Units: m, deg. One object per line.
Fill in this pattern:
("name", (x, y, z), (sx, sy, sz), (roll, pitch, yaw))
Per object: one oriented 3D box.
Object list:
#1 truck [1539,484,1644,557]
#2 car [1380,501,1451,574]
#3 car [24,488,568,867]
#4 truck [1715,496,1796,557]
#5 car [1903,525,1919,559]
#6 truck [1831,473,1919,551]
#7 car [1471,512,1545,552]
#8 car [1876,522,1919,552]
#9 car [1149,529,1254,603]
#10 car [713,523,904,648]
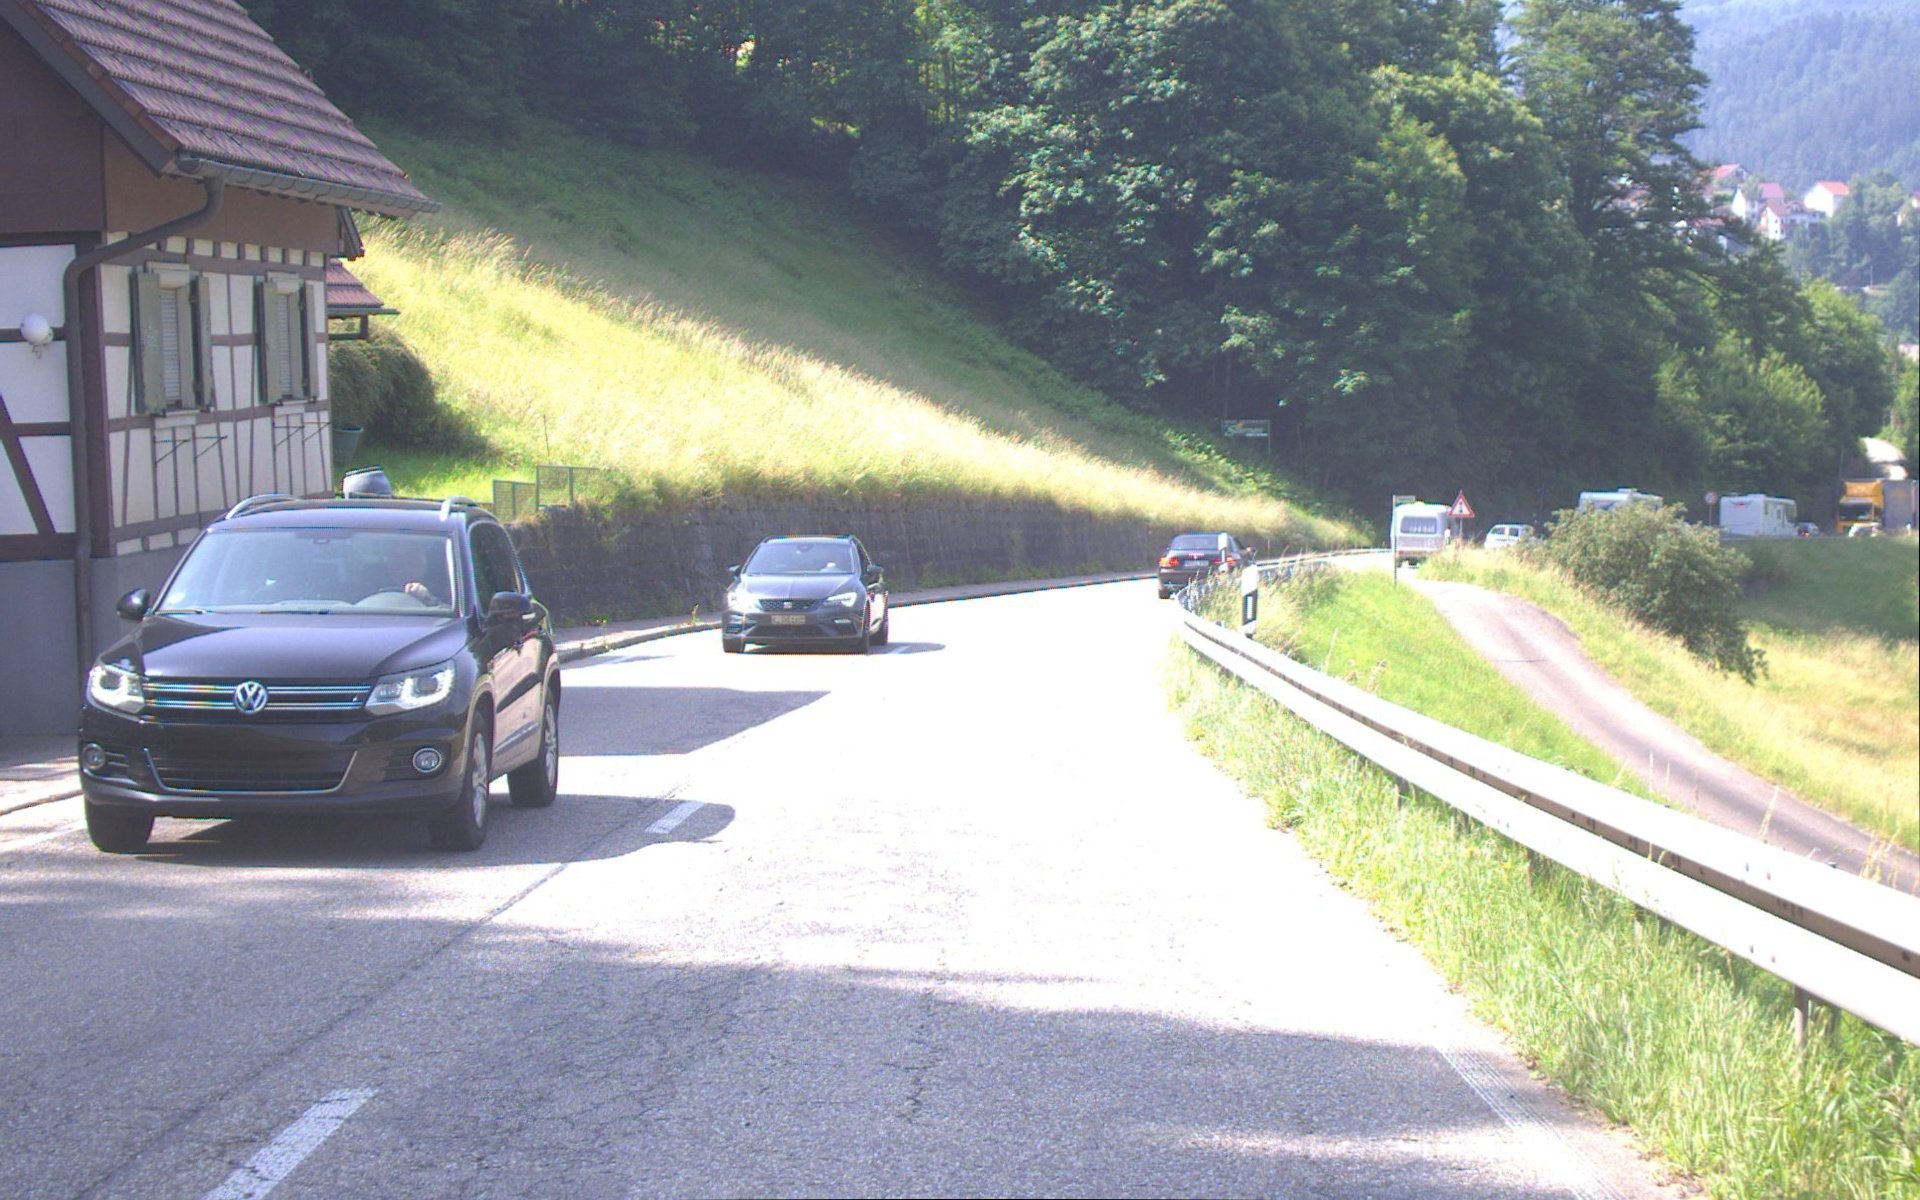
("truck", (28.202, -3.575, 153.405), (2.795, 2.987, 6.859), (5, 3, 25))
("car", (16.008, -2.222, 120.658), (1.995, 2.344, 4.912), (2, 3, 12))
("car", (-3.120, 0.275, 17.035), (1.889, 1.639, 4.258), (0, 2, 0))
("truck", (39.924, -3.672, 172.454), (2.241, 2.794, 6.222), (3, 1, 29))
("car", (56.713, -3.380, 200.732), (1.997, 1.919, 3.993), (4, 3, 32))
("truck", (54.974, -5.264, 205.928), (3.195, 4.381, 6.559), (5, 3, 33))
("car", (22.076, -2.737, 138.371), (1.996, 1.479, 3.995), (4, 3, 22))
("car", (52.761, -3.495, 191.973), (1.910, 1.481, 3.993), (6, 3, 32))
("car", (4.997, -0.716, 70.796), (1.772, 1.331, 3.766), (2, 3, 9))
("car", (-1.858, -0.221, 43.413), (1.765, 1.391, 4.144), (1, 2, 6))
